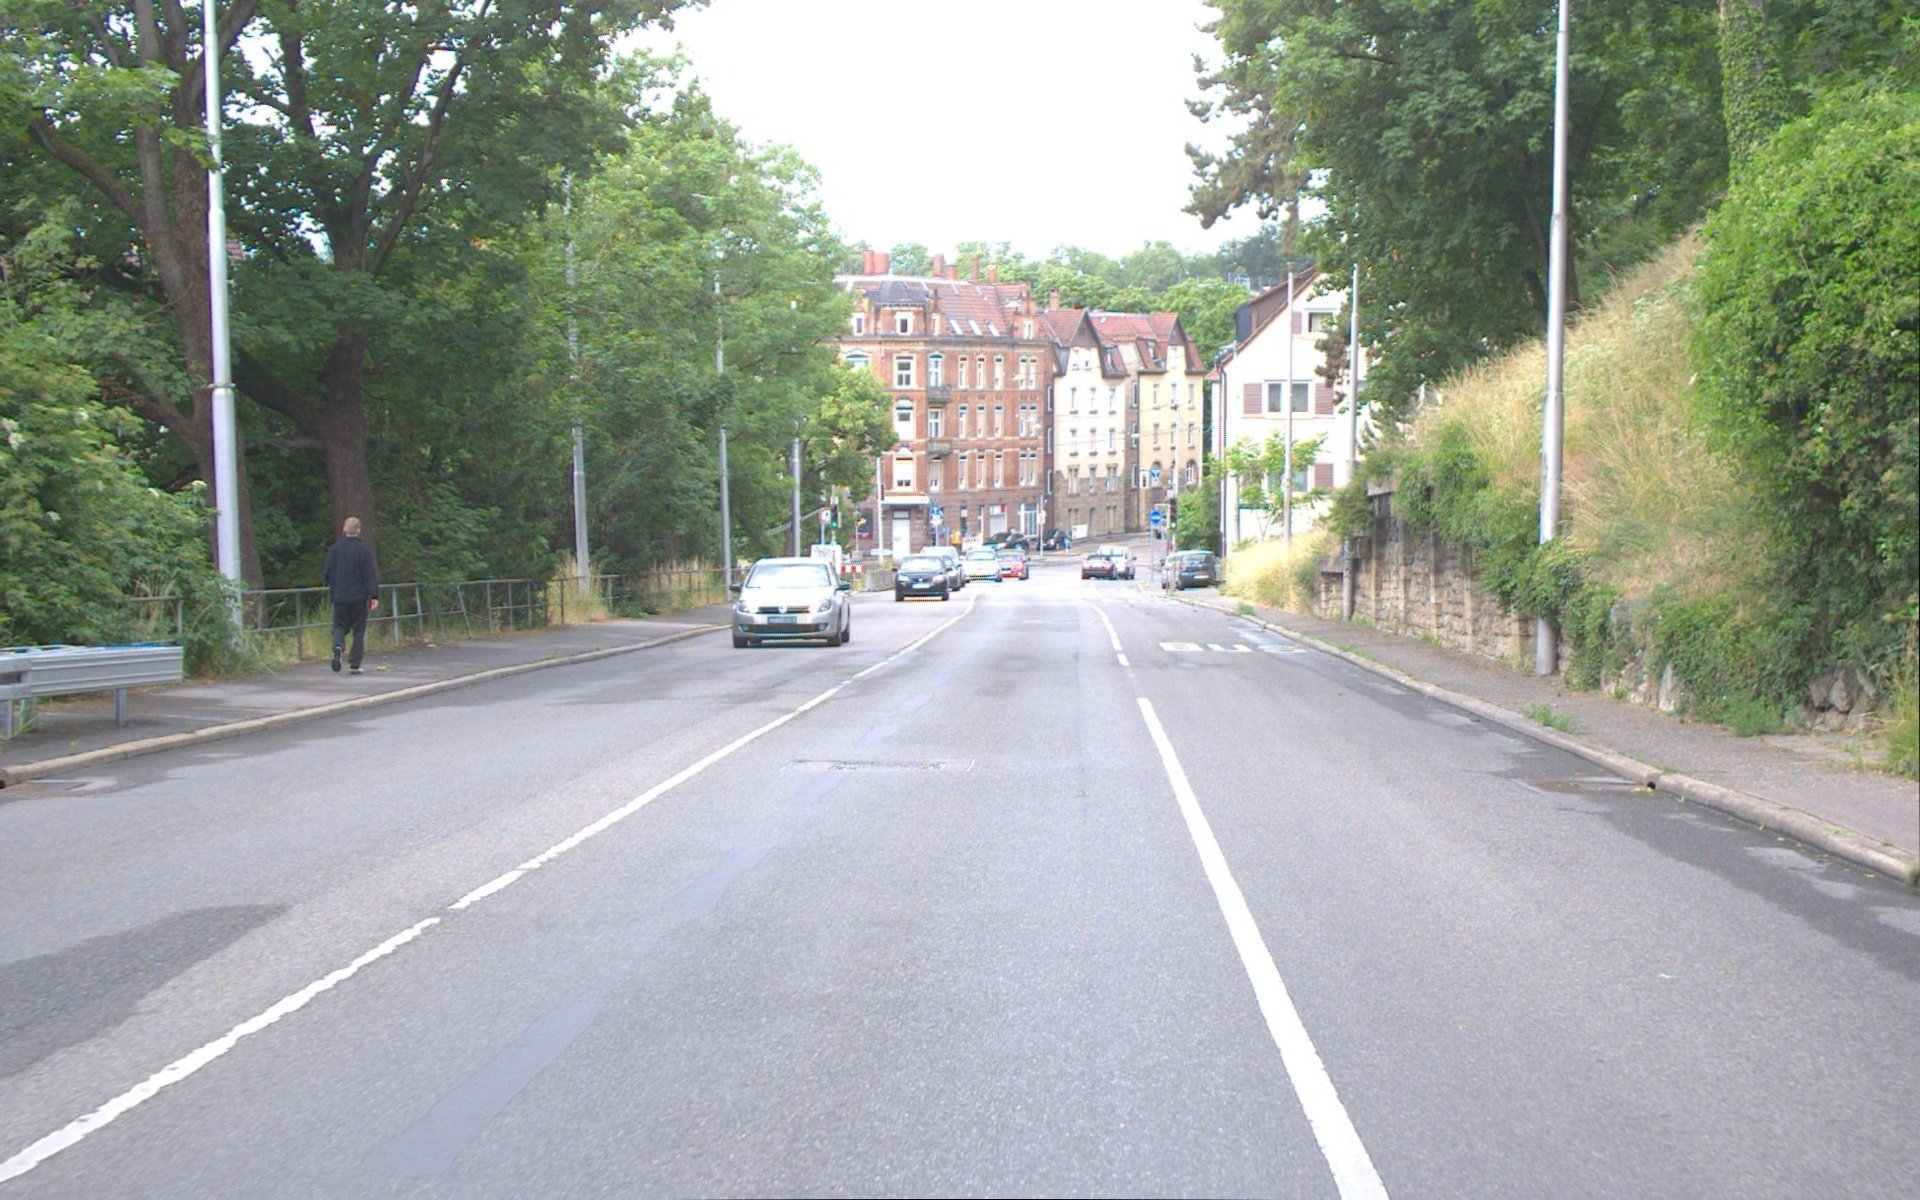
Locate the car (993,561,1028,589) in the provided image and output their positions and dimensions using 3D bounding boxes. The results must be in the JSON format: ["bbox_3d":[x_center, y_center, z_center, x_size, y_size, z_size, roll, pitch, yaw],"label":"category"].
[{"bbox_3d":[2.694,-1.324,182.802,1.784,1.454,4.428,-1,0,1],"label":"car"}]

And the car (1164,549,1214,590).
[{"bbox_3d":[8.763,-1.159,131.703,1.681,1.446,4.000,-4,0,2],"label":"car"}]

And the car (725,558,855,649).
[{"bbox_3d":[-2.795,0.034,57.343,1.794,1.422,4.143,1,1,2],"label":"car"}]

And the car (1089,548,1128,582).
[{"bbox_3d":[8.611,-2.027,198.970,1.910,1.877,3.999,1,0,6],"label":"car"}]

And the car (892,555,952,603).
[{"bbox_3d":[-1.171,-0.662,107.464,1.669,1.442,3.688,-1,0,2],"label":"car"}]

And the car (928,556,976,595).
[{"bbox_3d":[-0.290,-0.926,129.932,1.712,1.422,4.139,-1,1,1],"label":"car"}]

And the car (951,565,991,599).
[{"bbox_3d":[0.522,-0.852,163.311,1.784,1.569,4.281,-1,0,1],"label":"car"}]

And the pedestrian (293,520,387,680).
[{"bbox_3d":[-7.126,-0.009,39.554,0.788,1.768,1.209,3,1,-1],"label":"pedestrian"}]

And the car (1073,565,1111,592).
[{"bbox_3d":[7.375,-1.217,191.909,1.817,1.425,3.999,1,1,6],"label":"car"}]

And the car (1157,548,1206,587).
[{"bbox_3d":[9.061,-1.352,140.517,1.794,1.446,4.717,-3,1,5],"label":"car"}]
